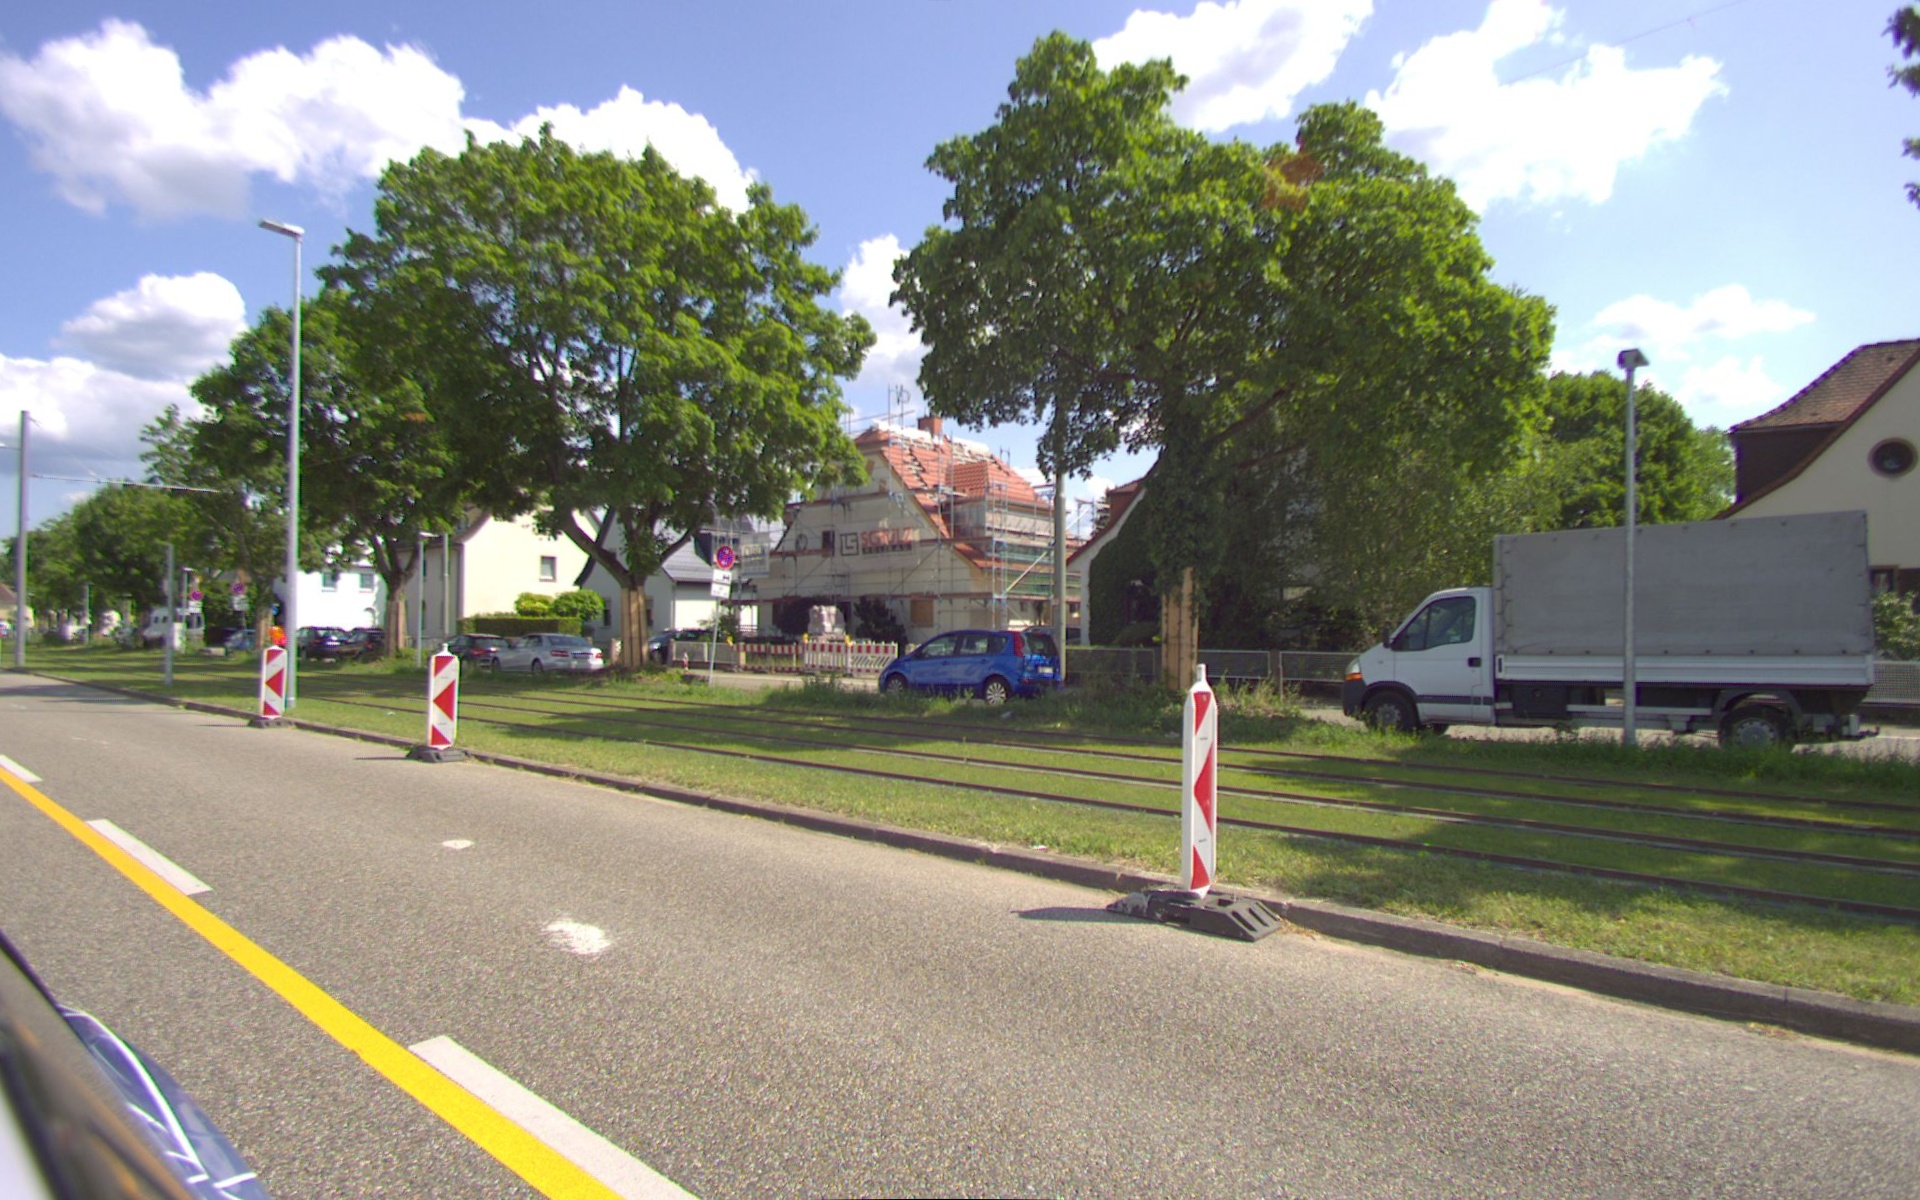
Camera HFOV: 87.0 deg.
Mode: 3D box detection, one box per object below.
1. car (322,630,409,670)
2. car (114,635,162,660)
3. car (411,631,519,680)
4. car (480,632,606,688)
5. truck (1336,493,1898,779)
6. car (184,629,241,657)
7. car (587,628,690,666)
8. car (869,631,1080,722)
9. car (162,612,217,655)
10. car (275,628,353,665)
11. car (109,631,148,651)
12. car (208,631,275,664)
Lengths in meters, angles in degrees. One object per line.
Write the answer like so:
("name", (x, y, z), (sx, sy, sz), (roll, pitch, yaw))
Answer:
("car", (-25.182, 2.073, 42.831), (4.603, 1.623, 1.733), (-2, -3, 40))
("car", (-57.021, 3.266, 70.155), (4.603, 1.623, 1.733), (-2, -3, 40))
("car", (-17.613, 1.915, 35.936), (4.603, 1.623, 1.733), (-2, -3, 40))
("car", (-13.171, 1.830, 31.865), (4.603, 1.623, 1.733), (-2, -3, 40))
("truck", (8.276, 0.466, 13.359), (5.871, 3.010, 1.982), (-2, -3, 41))
("car", (-44.643, 2.552, 60.409), (4.603, 1.623, 1.733), (-2, -3, 40))
("car", (-14.081, 2.047, 44.512), (1.756, 1.623, 3.995), (-2, -3, 41))
("car", (0.215, 1.444, 20.192), (4.047, 1.623, 1.733), (-2, -3, 40))
("car", (-48.834, 2.105, 64.105), (4.603, 2.636, 1.733), (-2, -3, 40))
("car", (-29.601, 2.098, 46.335), (4.603, 1.623, 1.733), (-2, -3, 40))
("car", (-70.200, 3.441, 85.401), (4.603, 1.623, 1.733), (-2, -3, 40))
("car", (-37.643, 2.468, 52.984), (4.603, 1.623, 1.733), (-2, -3, 40))
